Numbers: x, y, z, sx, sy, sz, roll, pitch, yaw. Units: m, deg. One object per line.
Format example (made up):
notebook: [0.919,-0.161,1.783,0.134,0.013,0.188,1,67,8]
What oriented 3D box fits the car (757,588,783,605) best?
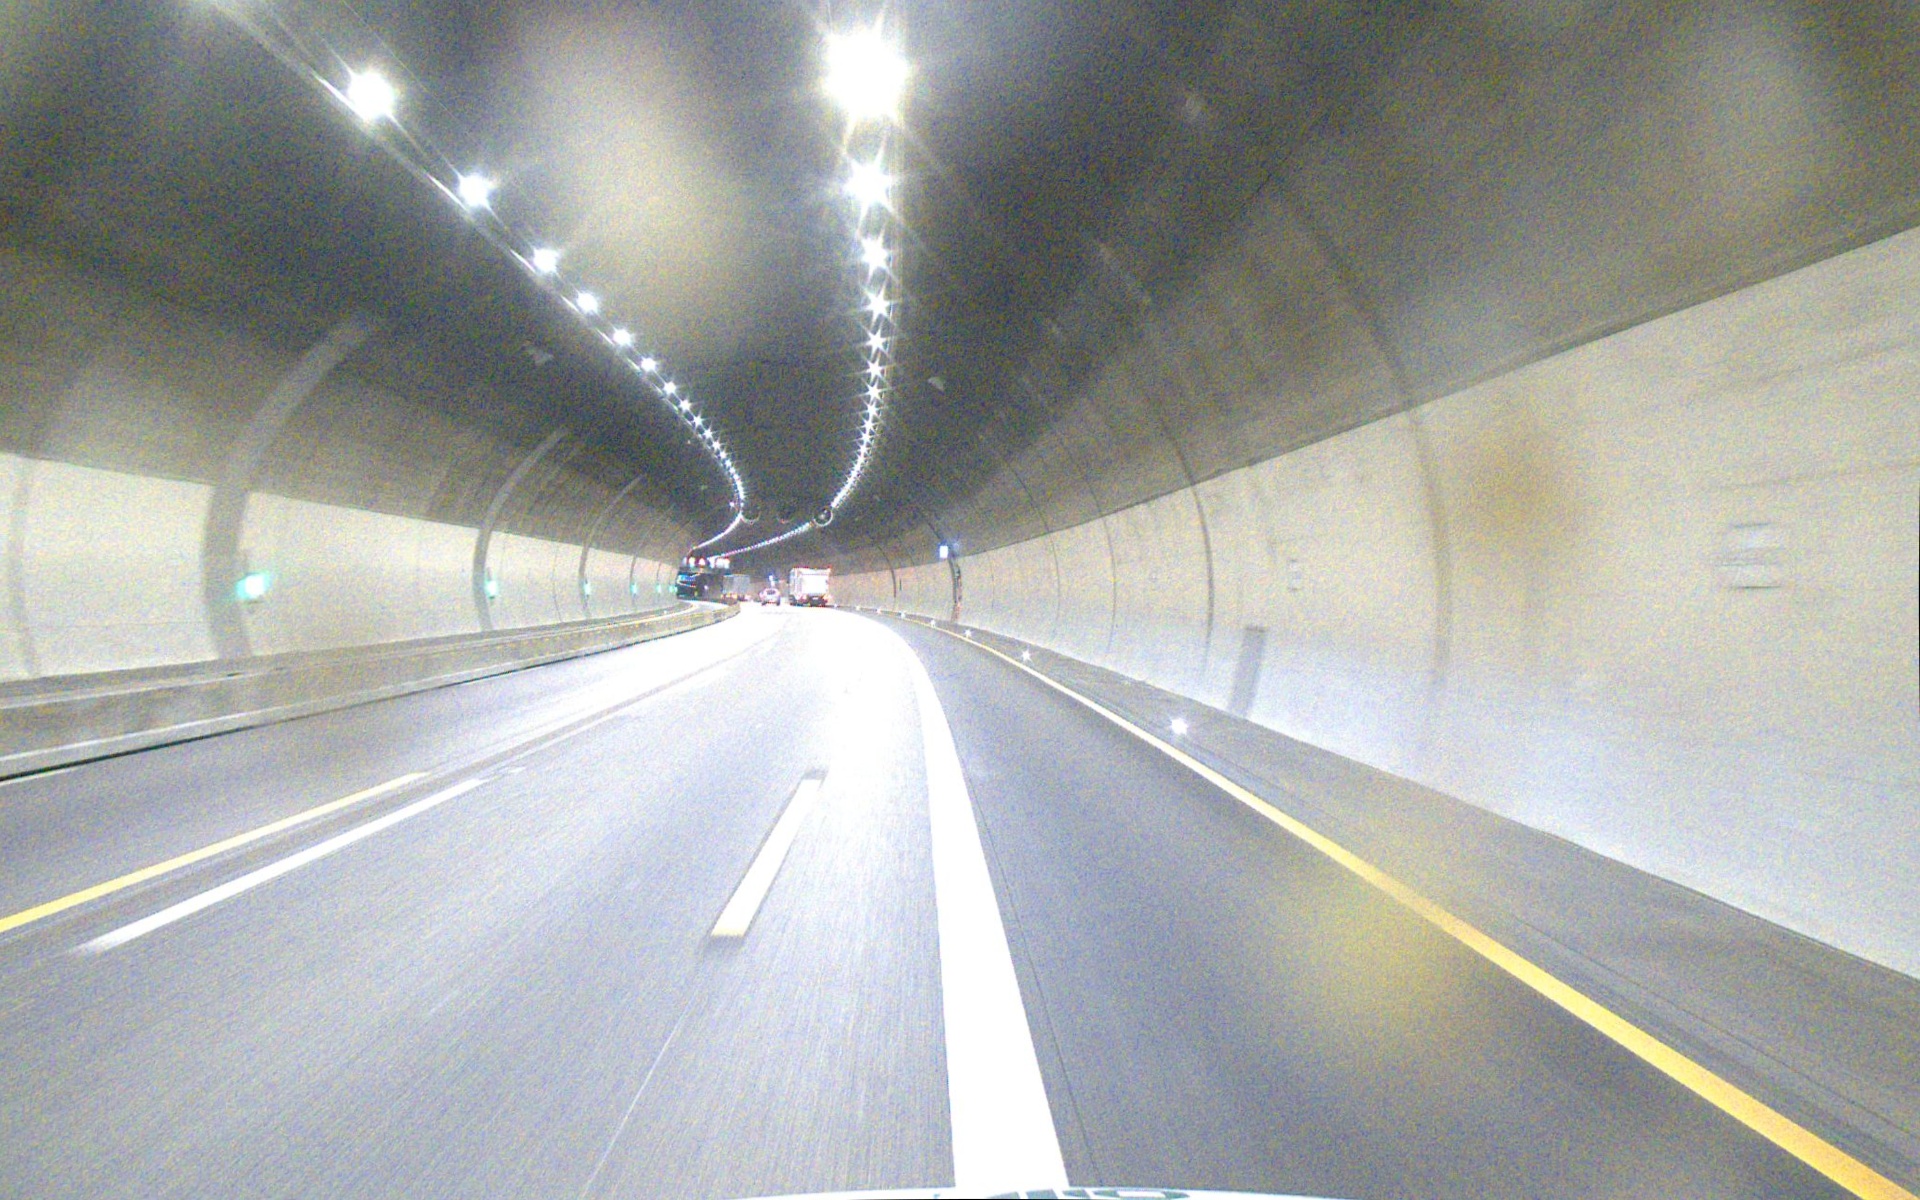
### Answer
car: [-18.582,-0.338,161.658,1.960,1.609,3.985,1,0,-14]

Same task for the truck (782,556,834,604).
truck: [-14.487,-1.869,156.744,3.415,4.391,10.914,0,0,-13]

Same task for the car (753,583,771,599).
car: [-25.679,-1.145,214.691,1.958,2.049,3.989,0,0,-12]

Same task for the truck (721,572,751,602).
truck: [-34.412,-1.962,253.948,3.415,4.391,10.914,-1,0,-13]
